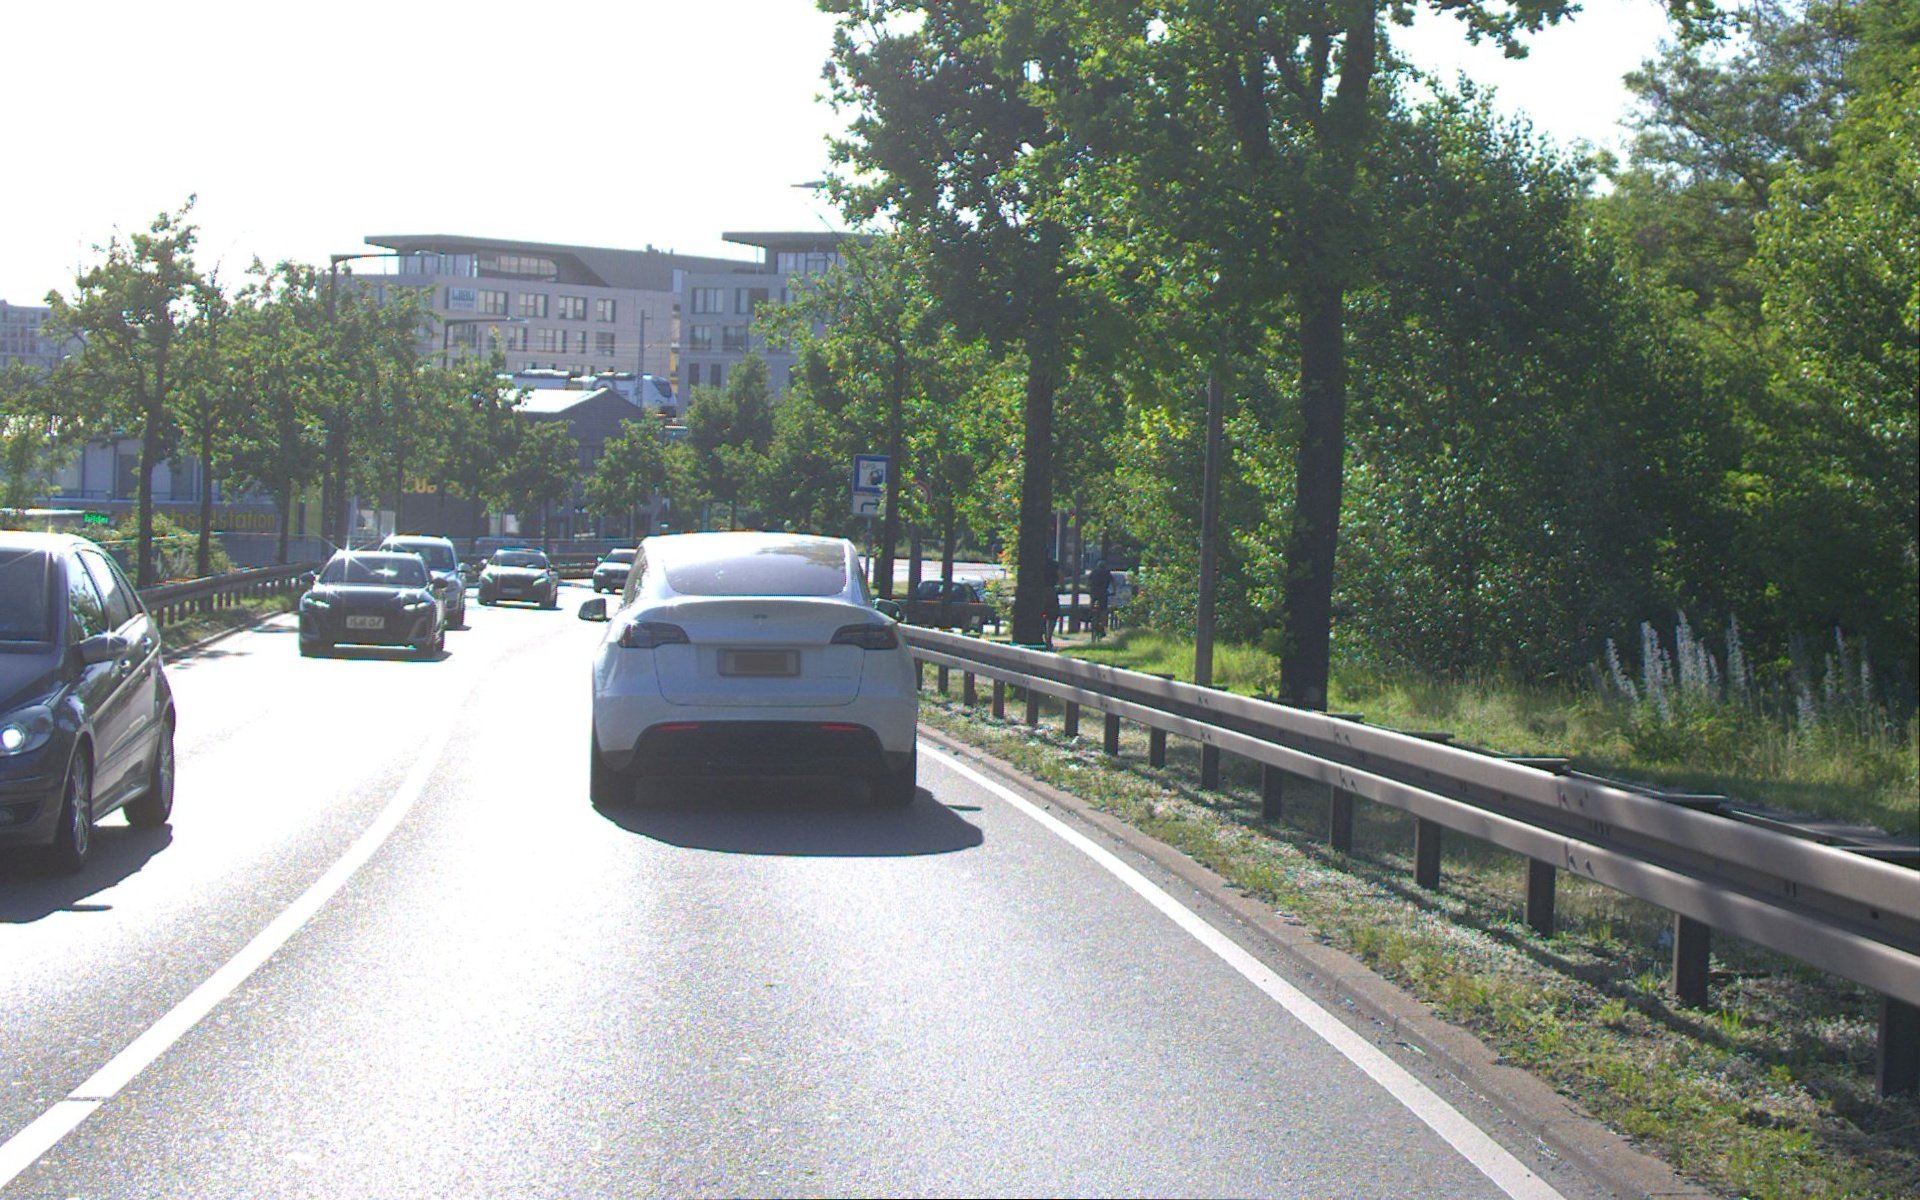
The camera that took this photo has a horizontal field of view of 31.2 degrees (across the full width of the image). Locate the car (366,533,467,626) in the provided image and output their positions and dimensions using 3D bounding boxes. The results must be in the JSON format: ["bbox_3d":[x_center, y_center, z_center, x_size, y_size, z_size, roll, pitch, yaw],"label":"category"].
[{"bbox_3d":[-10.193,-0.404,64.673,1.728,1.652,3.983,1,1,-7],"label":"car"}]

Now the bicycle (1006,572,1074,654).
[{"bbox_3d":[1.113,0.190,47.260,0.701,1.071,1.920,1,-1,8],"label":"bicycle"}]

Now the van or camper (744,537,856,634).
[{"bbox_3d":[-3.229,-0.335,70.311,1.958,1.877,4.880,1,1,1],"label":"van or camper"}]

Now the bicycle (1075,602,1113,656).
[{"bbox_3d":[2.887,0.614,74.062,0.695,1.091,2.117,1,1,5],"label":"bicycle"}]

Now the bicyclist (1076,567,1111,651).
[{"bbox_3d":[2.885,0.192,74.064,0.675,1.770,0.948,1,1,5],"label":"bicyclist"}]

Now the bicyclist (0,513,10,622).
[{"bbox_3d":[-14.645,-0.502,51.515,0.651,1.618,0.874,1,1,-7],"label":"bicyclist"}]

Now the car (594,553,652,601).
[{"bbox_3d":[-11.244,-0.780,114.958,1.809,1.491,4.370,1,1,-4],"label":"car"}]

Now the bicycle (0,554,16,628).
[{"bbox_3d":[-14.642,-0.143,51.455,0.660,1.091,2.109,1,1,-7],"label":"bicycle"}]

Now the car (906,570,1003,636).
[{"bbox_3d":[-0.121,0.061,88.744,1.605,1.429,3.676,4,4,14],"label":"car"}]

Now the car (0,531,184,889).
[{"bbox_3d":[-5.025,0.435,17.050,1.809,1.548,4.141,1,1,-6],"label":"car"}]

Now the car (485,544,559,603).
[{"bbox_3d":[-11.185,-0.694,87.951,1.691,1.436,4.217,1,1,-5],"label":"car"}]

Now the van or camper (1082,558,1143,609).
[{"bbox_3d":[6.189,-0.677,138.877,1.826,1.784,4.543,4,3,9],"label":"van or camper"}]

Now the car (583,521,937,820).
[{"bbox_3d":[-1.351,0.352,21.360,1.913,1.635,4.411,1,1,-7],"label":"car"}]

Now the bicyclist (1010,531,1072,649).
[{"bbox_3d":[1.116,-0.129,47.201,0.707,1.573,1.004,1,-1,7],"label":"bicyclist"}]

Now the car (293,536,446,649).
[{"bbox_3d":[-8.311,-0.144,48.720,1.849,1.486,4.717,1,1,-6],"label":"car"}]
